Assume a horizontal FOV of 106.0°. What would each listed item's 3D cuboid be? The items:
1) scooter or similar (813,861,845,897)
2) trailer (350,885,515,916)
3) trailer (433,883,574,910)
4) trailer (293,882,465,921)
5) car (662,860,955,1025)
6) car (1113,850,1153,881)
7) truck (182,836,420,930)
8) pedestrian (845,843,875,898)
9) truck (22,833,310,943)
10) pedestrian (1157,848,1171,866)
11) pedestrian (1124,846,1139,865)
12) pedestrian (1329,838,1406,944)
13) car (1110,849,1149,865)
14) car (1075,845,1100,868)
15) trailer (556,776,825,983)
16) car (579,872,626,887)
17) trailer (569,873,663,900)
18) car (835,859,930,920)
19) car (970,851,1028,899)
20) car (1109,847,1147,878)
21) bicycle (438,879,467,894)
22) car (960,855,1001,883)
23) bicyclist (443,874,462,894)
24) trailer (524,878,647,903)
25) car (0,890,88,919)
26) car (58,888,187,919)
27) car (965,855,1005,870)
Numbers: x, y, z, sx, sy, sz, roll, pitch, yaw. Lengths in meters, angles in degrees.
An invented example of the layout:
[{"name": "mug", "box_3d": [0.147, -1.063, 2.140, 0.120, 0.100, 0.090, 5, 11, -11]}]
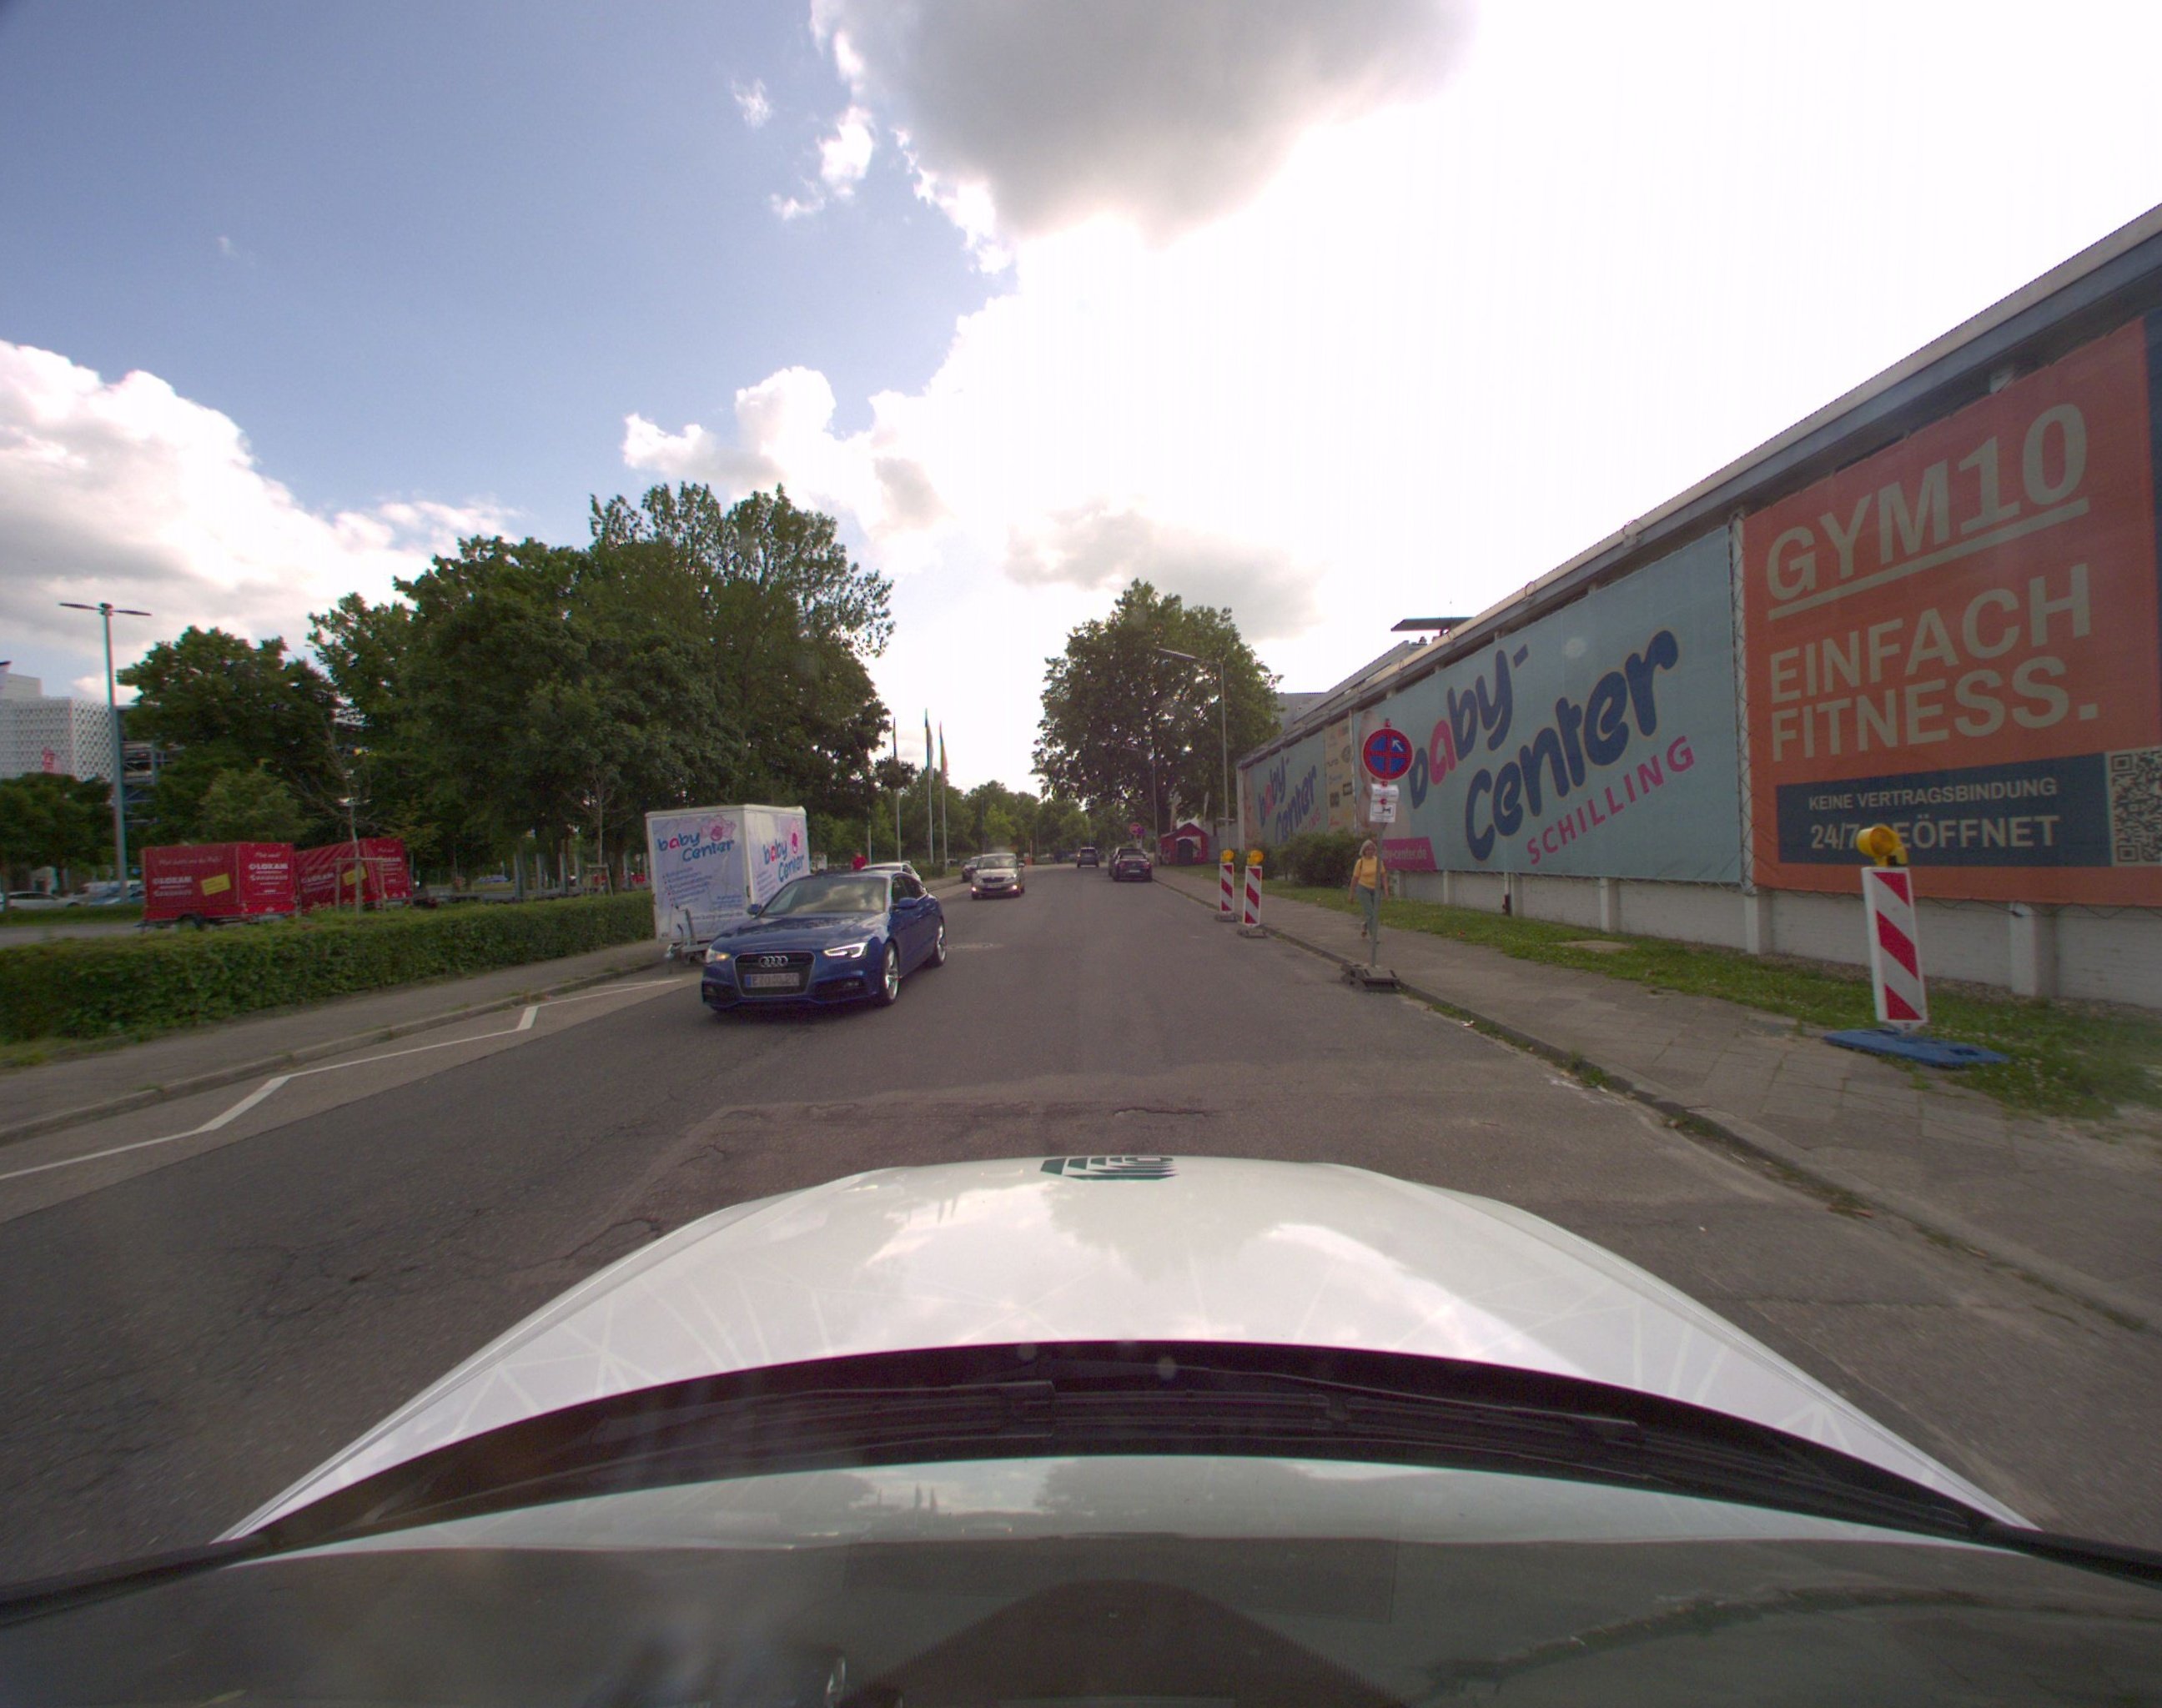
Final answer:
[{"name": "scooter or similar", "box_3d": [-8.821, 0.863, 28.527, 0.514, 1.193, 1.284, -1, 0, 11]}, {"name": "trailer", "box_3d": [-23.551, 1.692, 29.730, 4.223, 0.913, 2.157, -2, -2, -2]}, {"name": "trailer", "box_3d": [-23.387, 1.702, 33.117, 4.223, 0.913, 2.021, -2, -2, -2]}, {"name": "trailer", "box_3d": [-23.445, 1.564, 27.319, 4.223, 1.121, 1.670, -2, -2, -2]}, {"name": "car", "box_3d": [-2.848, 0.835, 9.700, 1.916, 1.377, 4.380, -2, 0, 1]}, {"name": "car", "box_3d": [2.479, 0.522, 39.653, 1.801, 1.391, 4.589, 0, 0, 1]}, {"name": "truck", "box_3d": [-23.764, 0.886, 24.936, 5.529, 2.594, 1.779, -2, -2, 0]}, {"name": "pedestrian", "box_3d": [-8.355, 0.621, 30.817, 0.807, 2.013, 0.885, -2, 0, -1]}, {"name": "truck", "box_3d": [-24.282, 0.894, 21.742, 5.733, 2.594, 1.816, -2, -2, 1]}, {"name": "pedestrian", "box_3d": [6.193, 0.237, 60.785, 1.008, 1.314, 0.967, -2, 0, 8]}, {"name": "pedestrian", "box_3d": [4.858, 0.150, 77.690, 1.003, 1.849, 1.222, -2, 0, -18]}, {"name": "pedestrian", "box_3d": [4.399, 0.545, 12.587, 0.680, 1.534, 1.128, -2, 0, -5]}, {"name": "car", "box_3d": [5.455, 0.360, 91.348, 4.209, 1.579, 1.922, -2, 0, -2]}, {"name": "car", "box_3d": [0.562, 0.198, 70.109, 1.957, 1.815, 4.273, -2, 0, -2]}, {"name": "trailer", "box_3d": [-6.277, 0.352, 13.914, 2.133, 2.783, 4.702, -4, 0, 0]}, {"name": "car", "box_3d": [-52.309, 2.749, 89.121, 4.007, 1.406, 1.796, -2, 0, -2]}, {"name": "trailer", "box_3d": [-23.744, 1.640, 41.630, 3.798, 1.190, 1.718, -2, 1, 5]}, {"name": "car", "box_3d": [-5.834, 0.980, 24.444, 1.760, 1.479, 4.233, -5, 0, -1]}, {"name": "car", "box_3d": [-2.811, 0.675, 28.476, 1.586, 1.465, 3.760, -3, 0, 0]}, {"name": "car", "box_3d": [2.589, 0.439, 46.013, 1.803, 1.665, 4.638, 0, 0, -1]}, {"name": "bicycle", "box_3d": [-55.165, 2.847, 71.494, 1.806, 1.166, 0.729, -3, 1, -5]}, {"name": "car", "box_3d": [-5.955, 0.851, 48.705, 1.703, 1.420, 4.333, -5, 0, 2]}, {"name": "bicyclist", "box_3d": [-55.190, 2.617, 71.500, 1.005, 1.647, 0.733, -3, 1, -5]}, {"name": "trailer", "box_3d": [-23.644, 1.750, 38.997, 4.573, 0.912, 2.191, -2, 1, 5]}, {"name": "car", "box_3d": [-59.733, 2.853, 45.906, 1.987, 1.412, 4.411, -2, 0, 0]}, {"name": "car", "box_3d": [-54.063, 2.743, 46.079, 1.987, 1.412, 4.411, -2, 0, 0]}, {"name": "car", "box_3d": [-10.659, 0.930, 90.547, 4.209, 1.406, 1.922, -2, 0, -2]}]
